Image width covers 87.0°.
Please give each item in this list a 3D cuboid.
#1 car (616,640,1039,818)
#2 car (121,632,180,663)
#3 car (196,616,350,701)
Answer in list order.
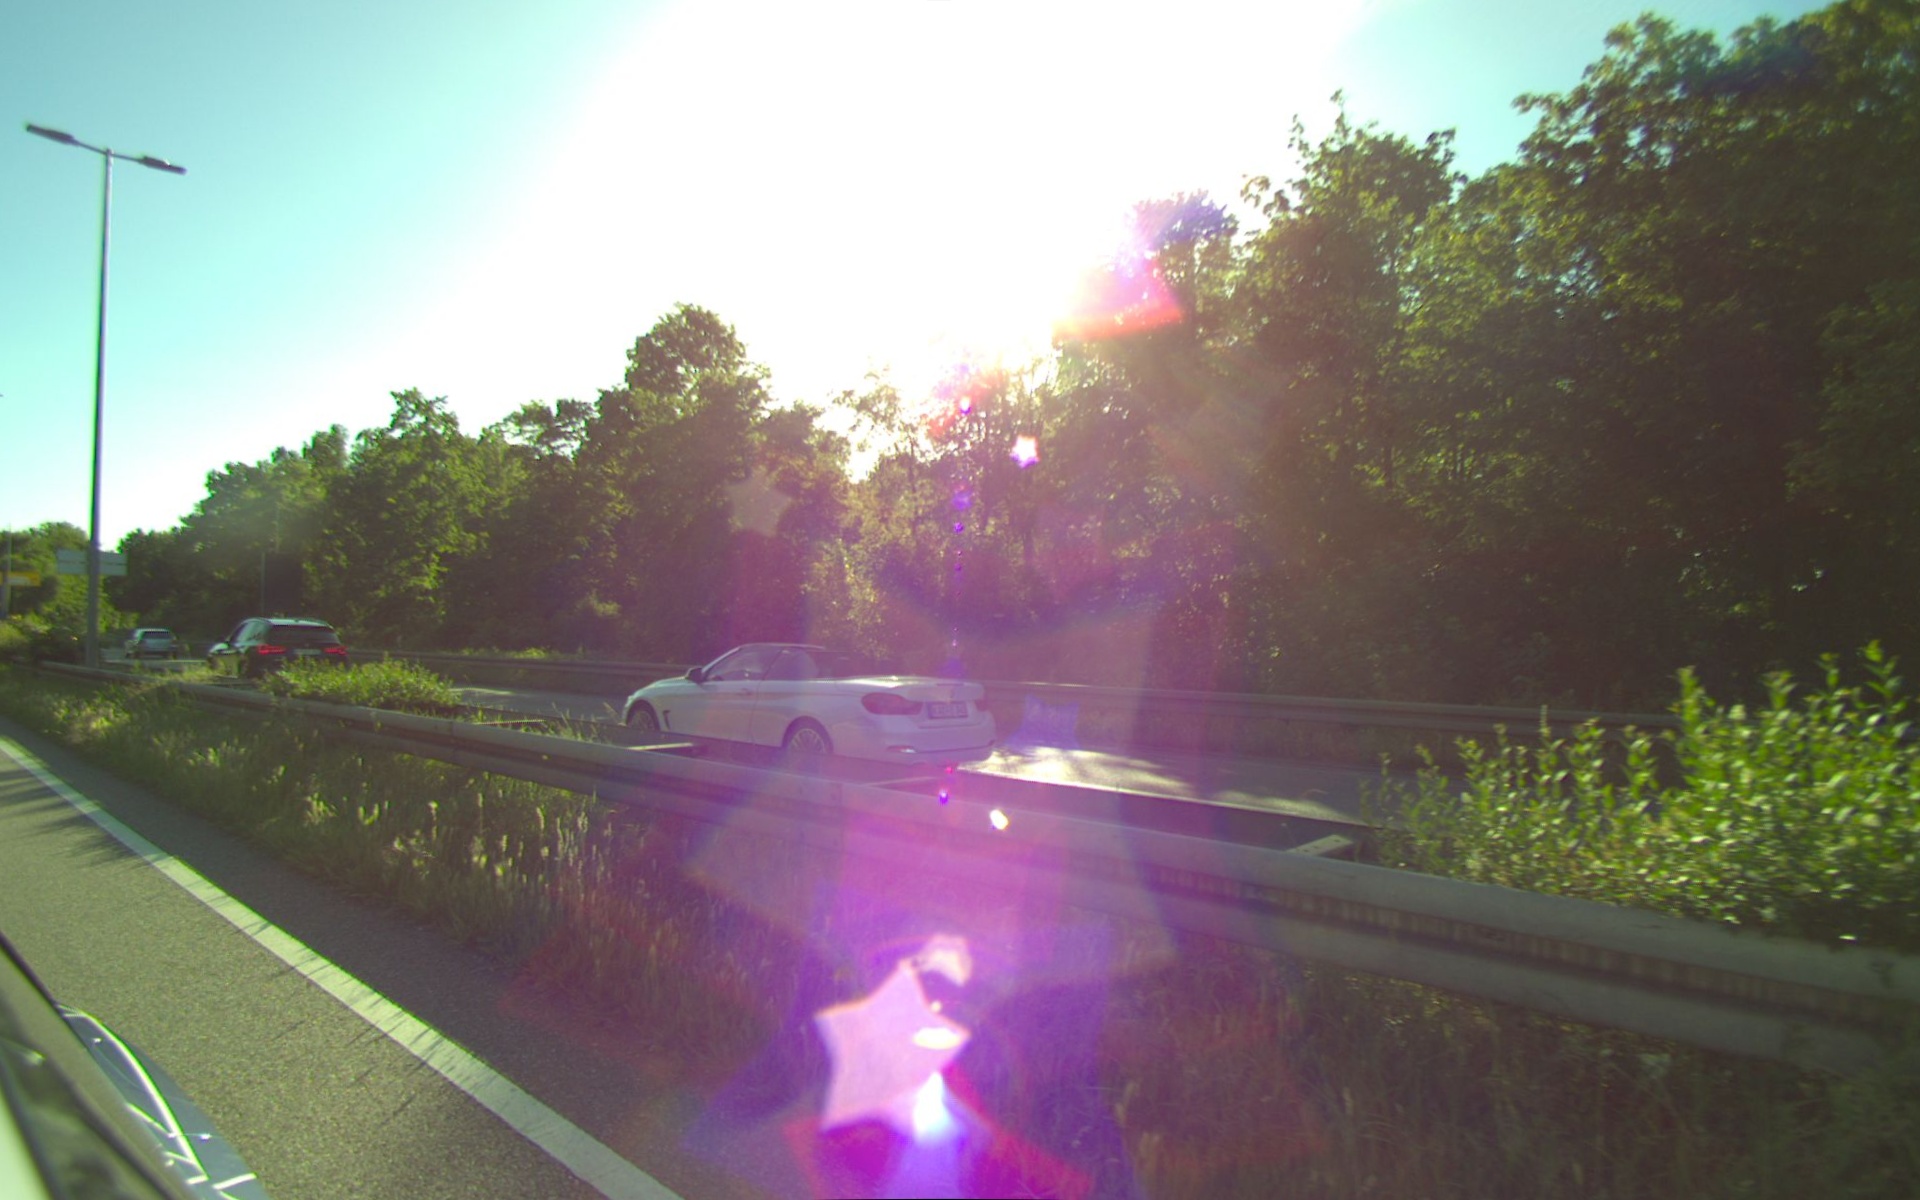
[{"bbox_3d":[-1.505,1.117,10.249,4.460,1.367,1.754,-1,-2,41],"label":"car"},{"bbox_3d":[-39.744,2.334,49.655,3.714,1.461,1.732,-2,-4,43],"label":"car"},{"bbox_3d":[-15.488,1.240,22.734,4.545,1.723,1.766,-1,-2,41],"label":"car"}]
